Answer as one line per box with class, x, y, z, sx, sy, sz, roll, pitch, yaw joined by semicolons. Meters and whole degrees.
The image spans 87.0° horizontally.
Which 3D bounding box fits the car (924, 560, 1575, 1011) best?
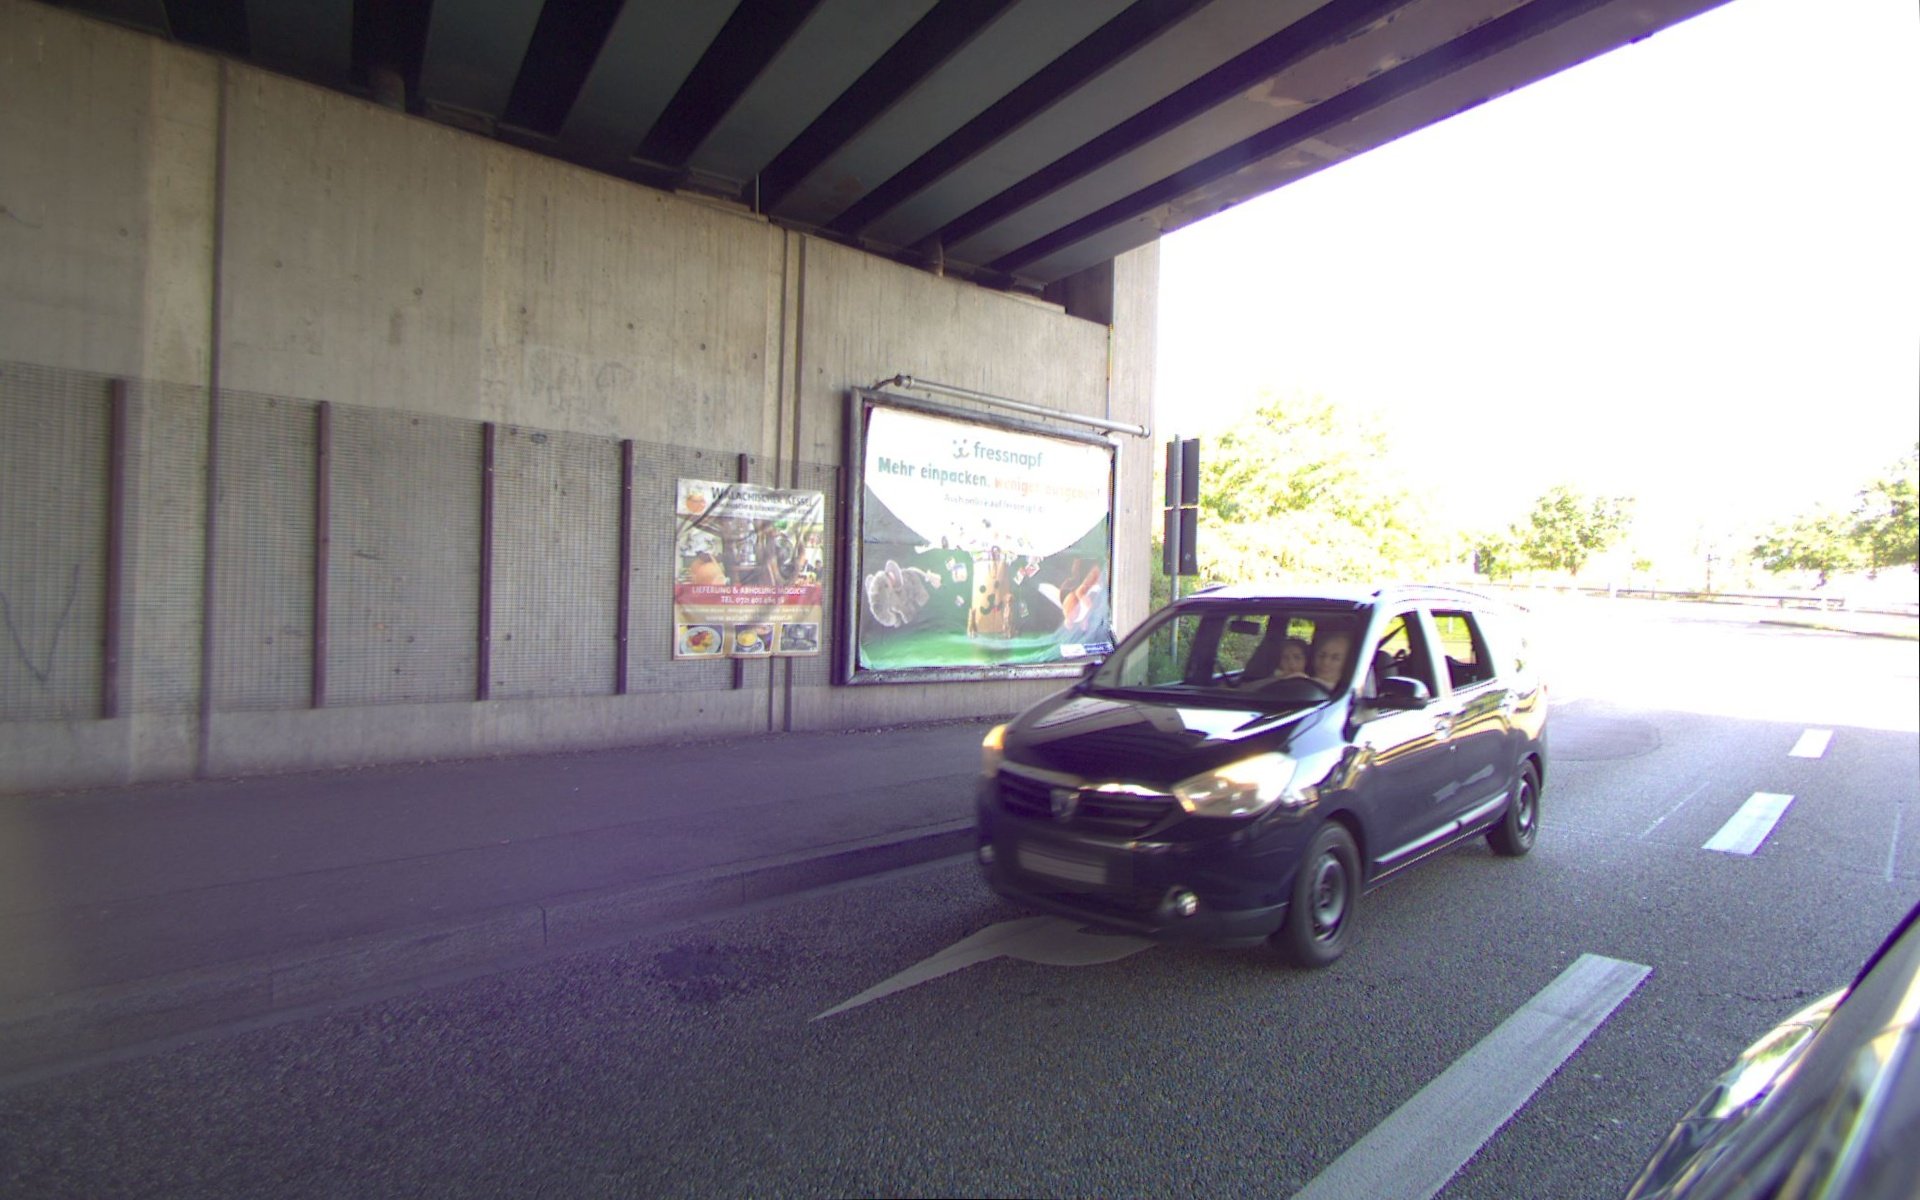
car;1.879;0.653;5.705;4.038;1.621;1.775;-1;0;-44
